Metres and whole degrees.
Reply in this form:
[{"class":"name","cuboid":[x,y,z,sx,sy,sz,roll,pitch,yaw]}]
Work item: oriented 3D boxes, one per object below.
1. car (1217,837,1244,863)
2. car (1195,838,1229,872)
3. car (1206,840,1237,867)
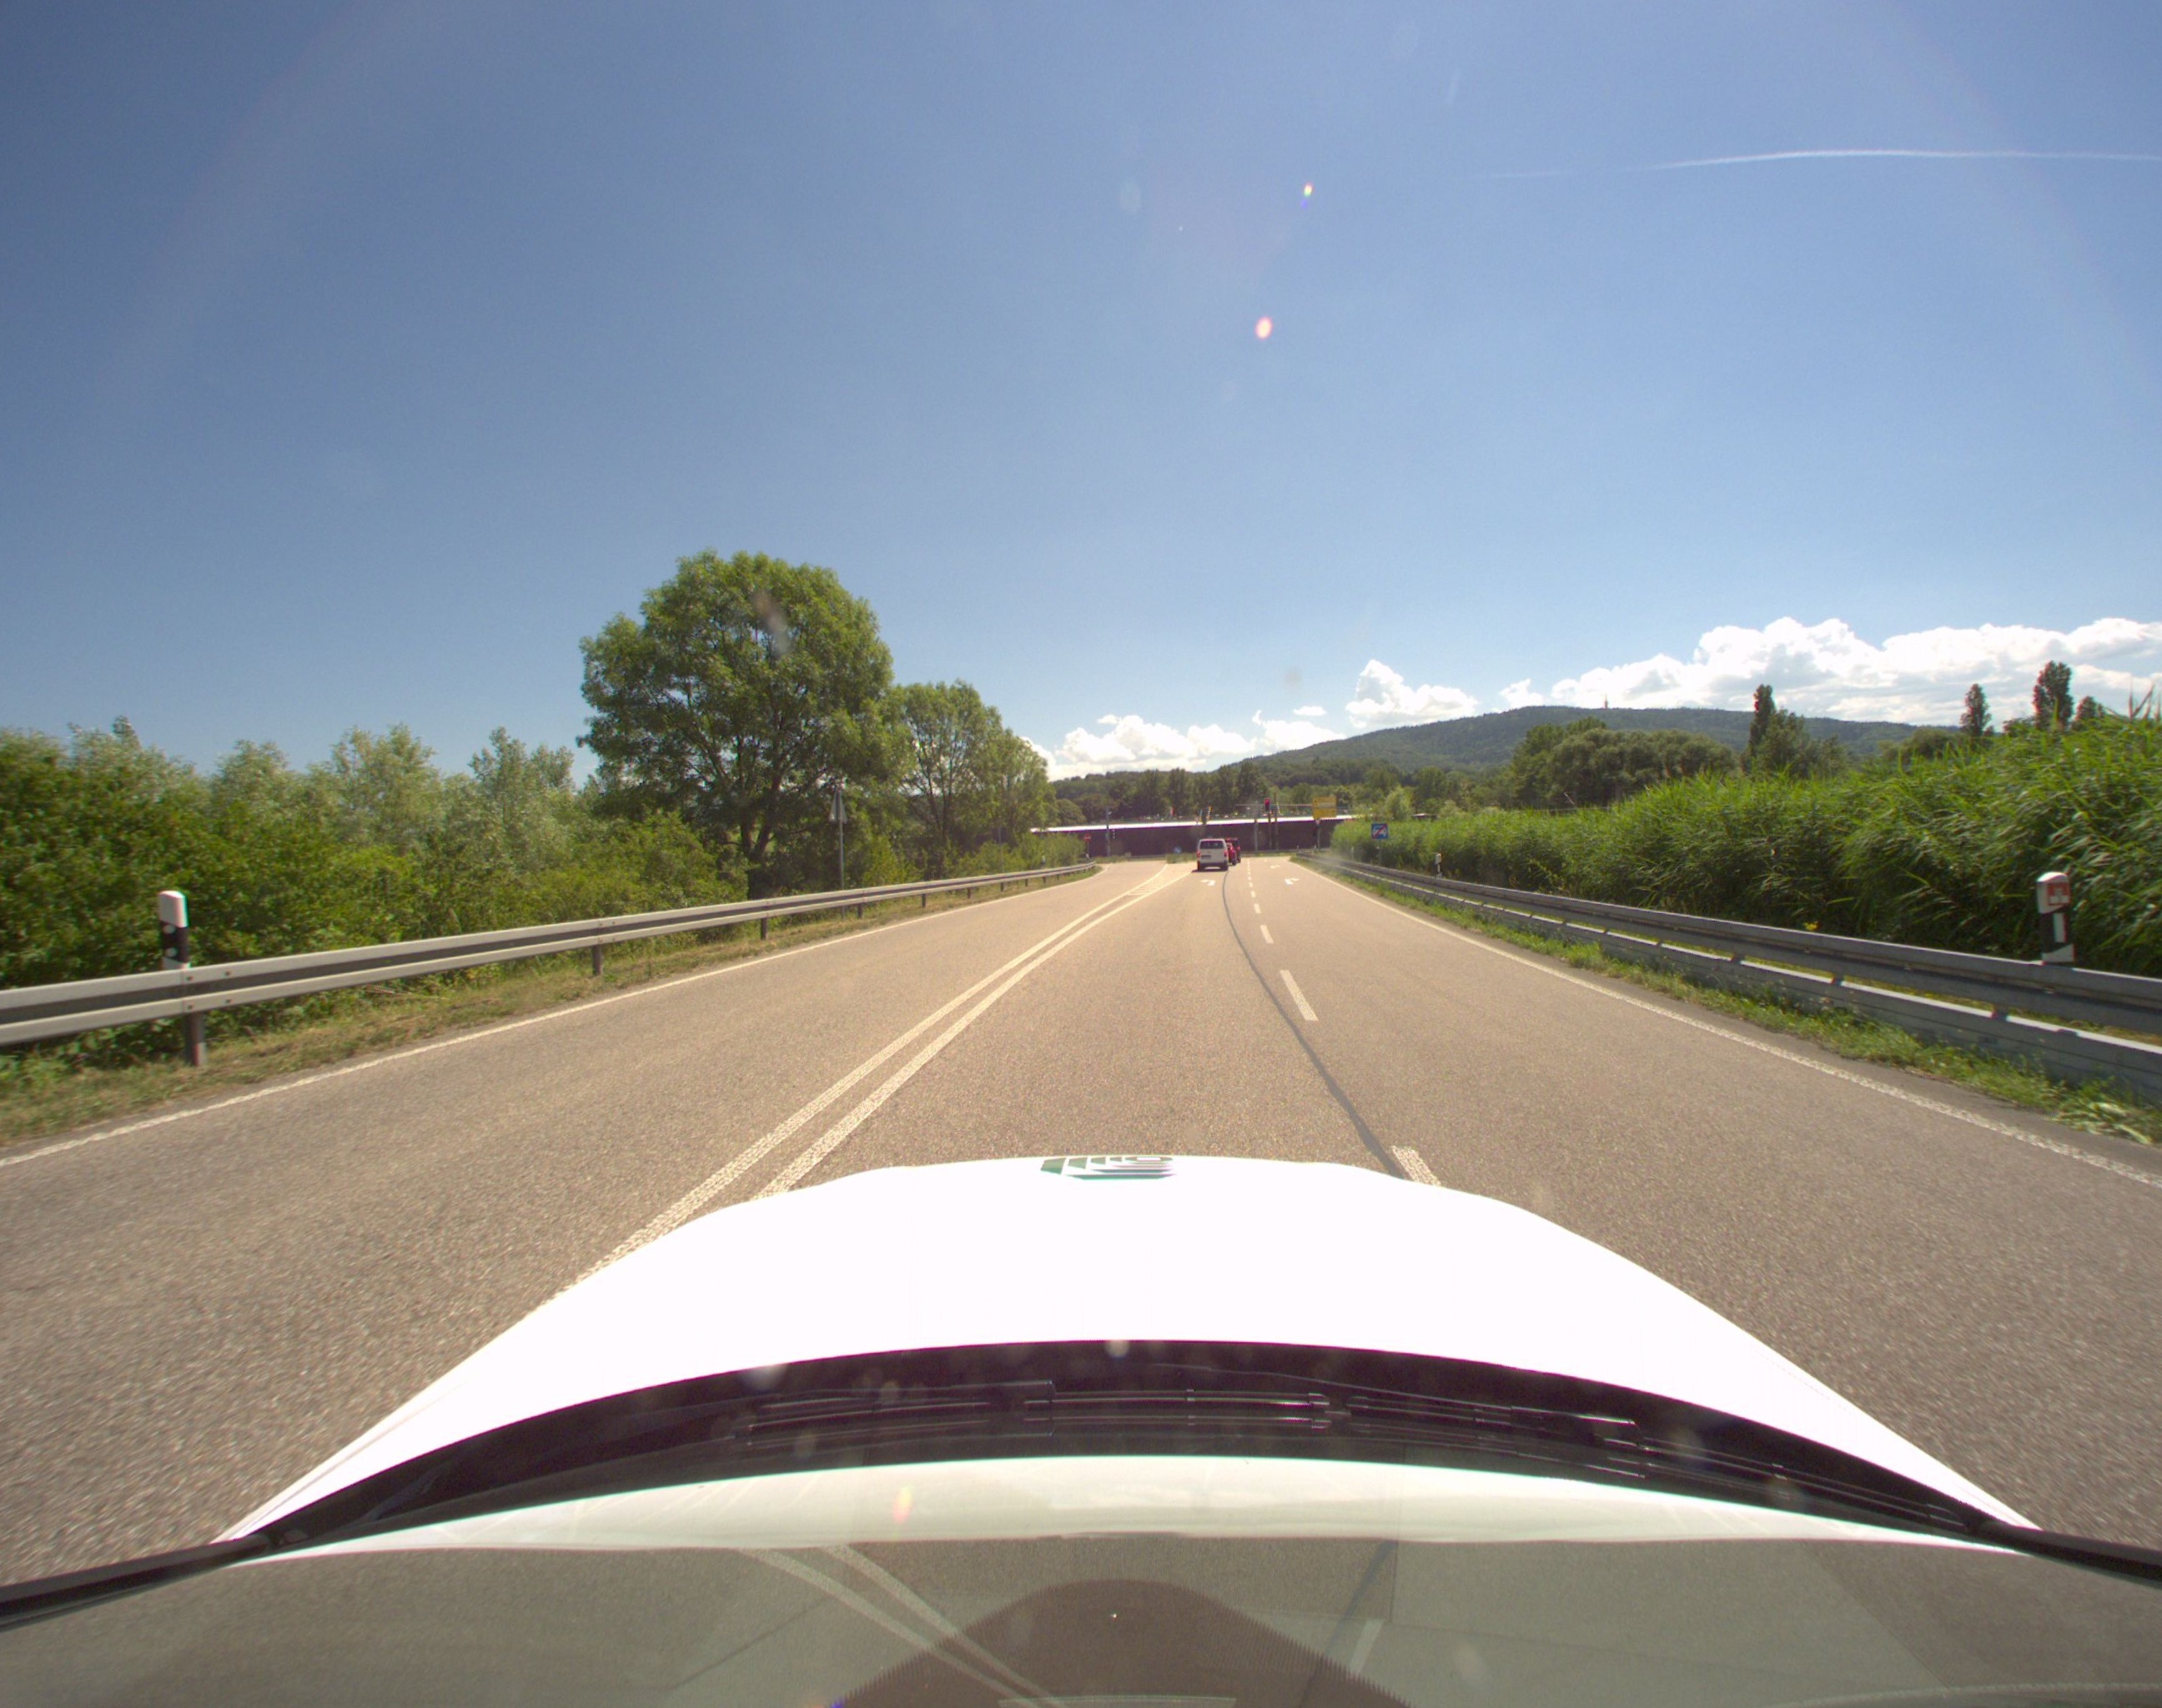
[{"class":"car","cuboid":[12.432,-0.342,67.427,1.980,2.013,4.013,-4,0,11]},{"class":"car","cuboid":[8.033,0.021,49.850,1.858,1.964,4.013,-2,0,11]},{"class":"car","cuboid":[10.388,-0.029,60.116,1.980,1.812,4.013,-4,0,11]}]
